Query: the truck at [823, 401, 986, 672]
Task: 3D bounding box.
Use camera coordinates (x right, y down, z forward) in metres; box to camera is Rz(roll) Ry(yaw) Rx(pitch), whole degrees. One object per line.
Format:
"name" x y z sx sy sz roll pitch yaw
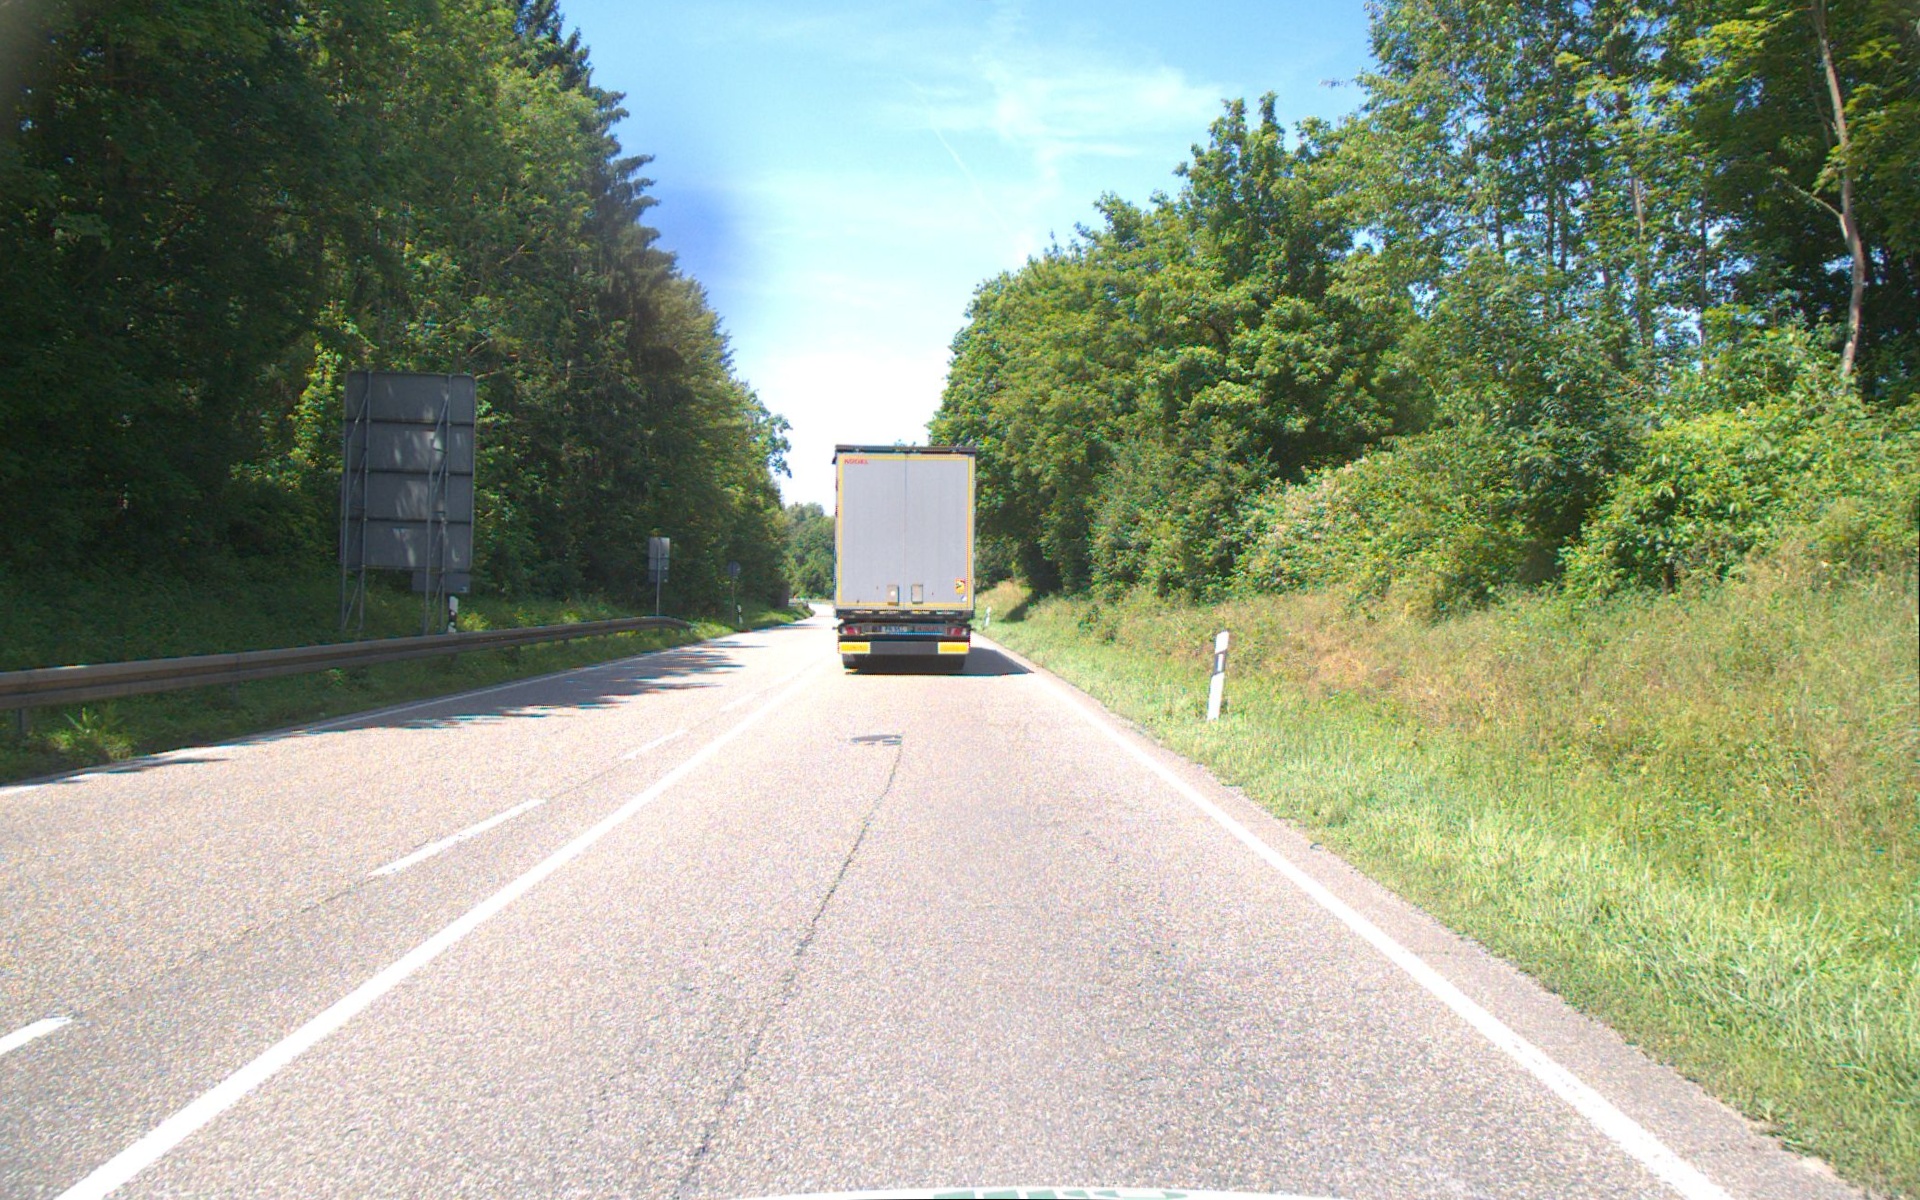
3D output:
"truck" -1.004 -1.112 32.209 2.765 4.684 6.664 1 0 -1
